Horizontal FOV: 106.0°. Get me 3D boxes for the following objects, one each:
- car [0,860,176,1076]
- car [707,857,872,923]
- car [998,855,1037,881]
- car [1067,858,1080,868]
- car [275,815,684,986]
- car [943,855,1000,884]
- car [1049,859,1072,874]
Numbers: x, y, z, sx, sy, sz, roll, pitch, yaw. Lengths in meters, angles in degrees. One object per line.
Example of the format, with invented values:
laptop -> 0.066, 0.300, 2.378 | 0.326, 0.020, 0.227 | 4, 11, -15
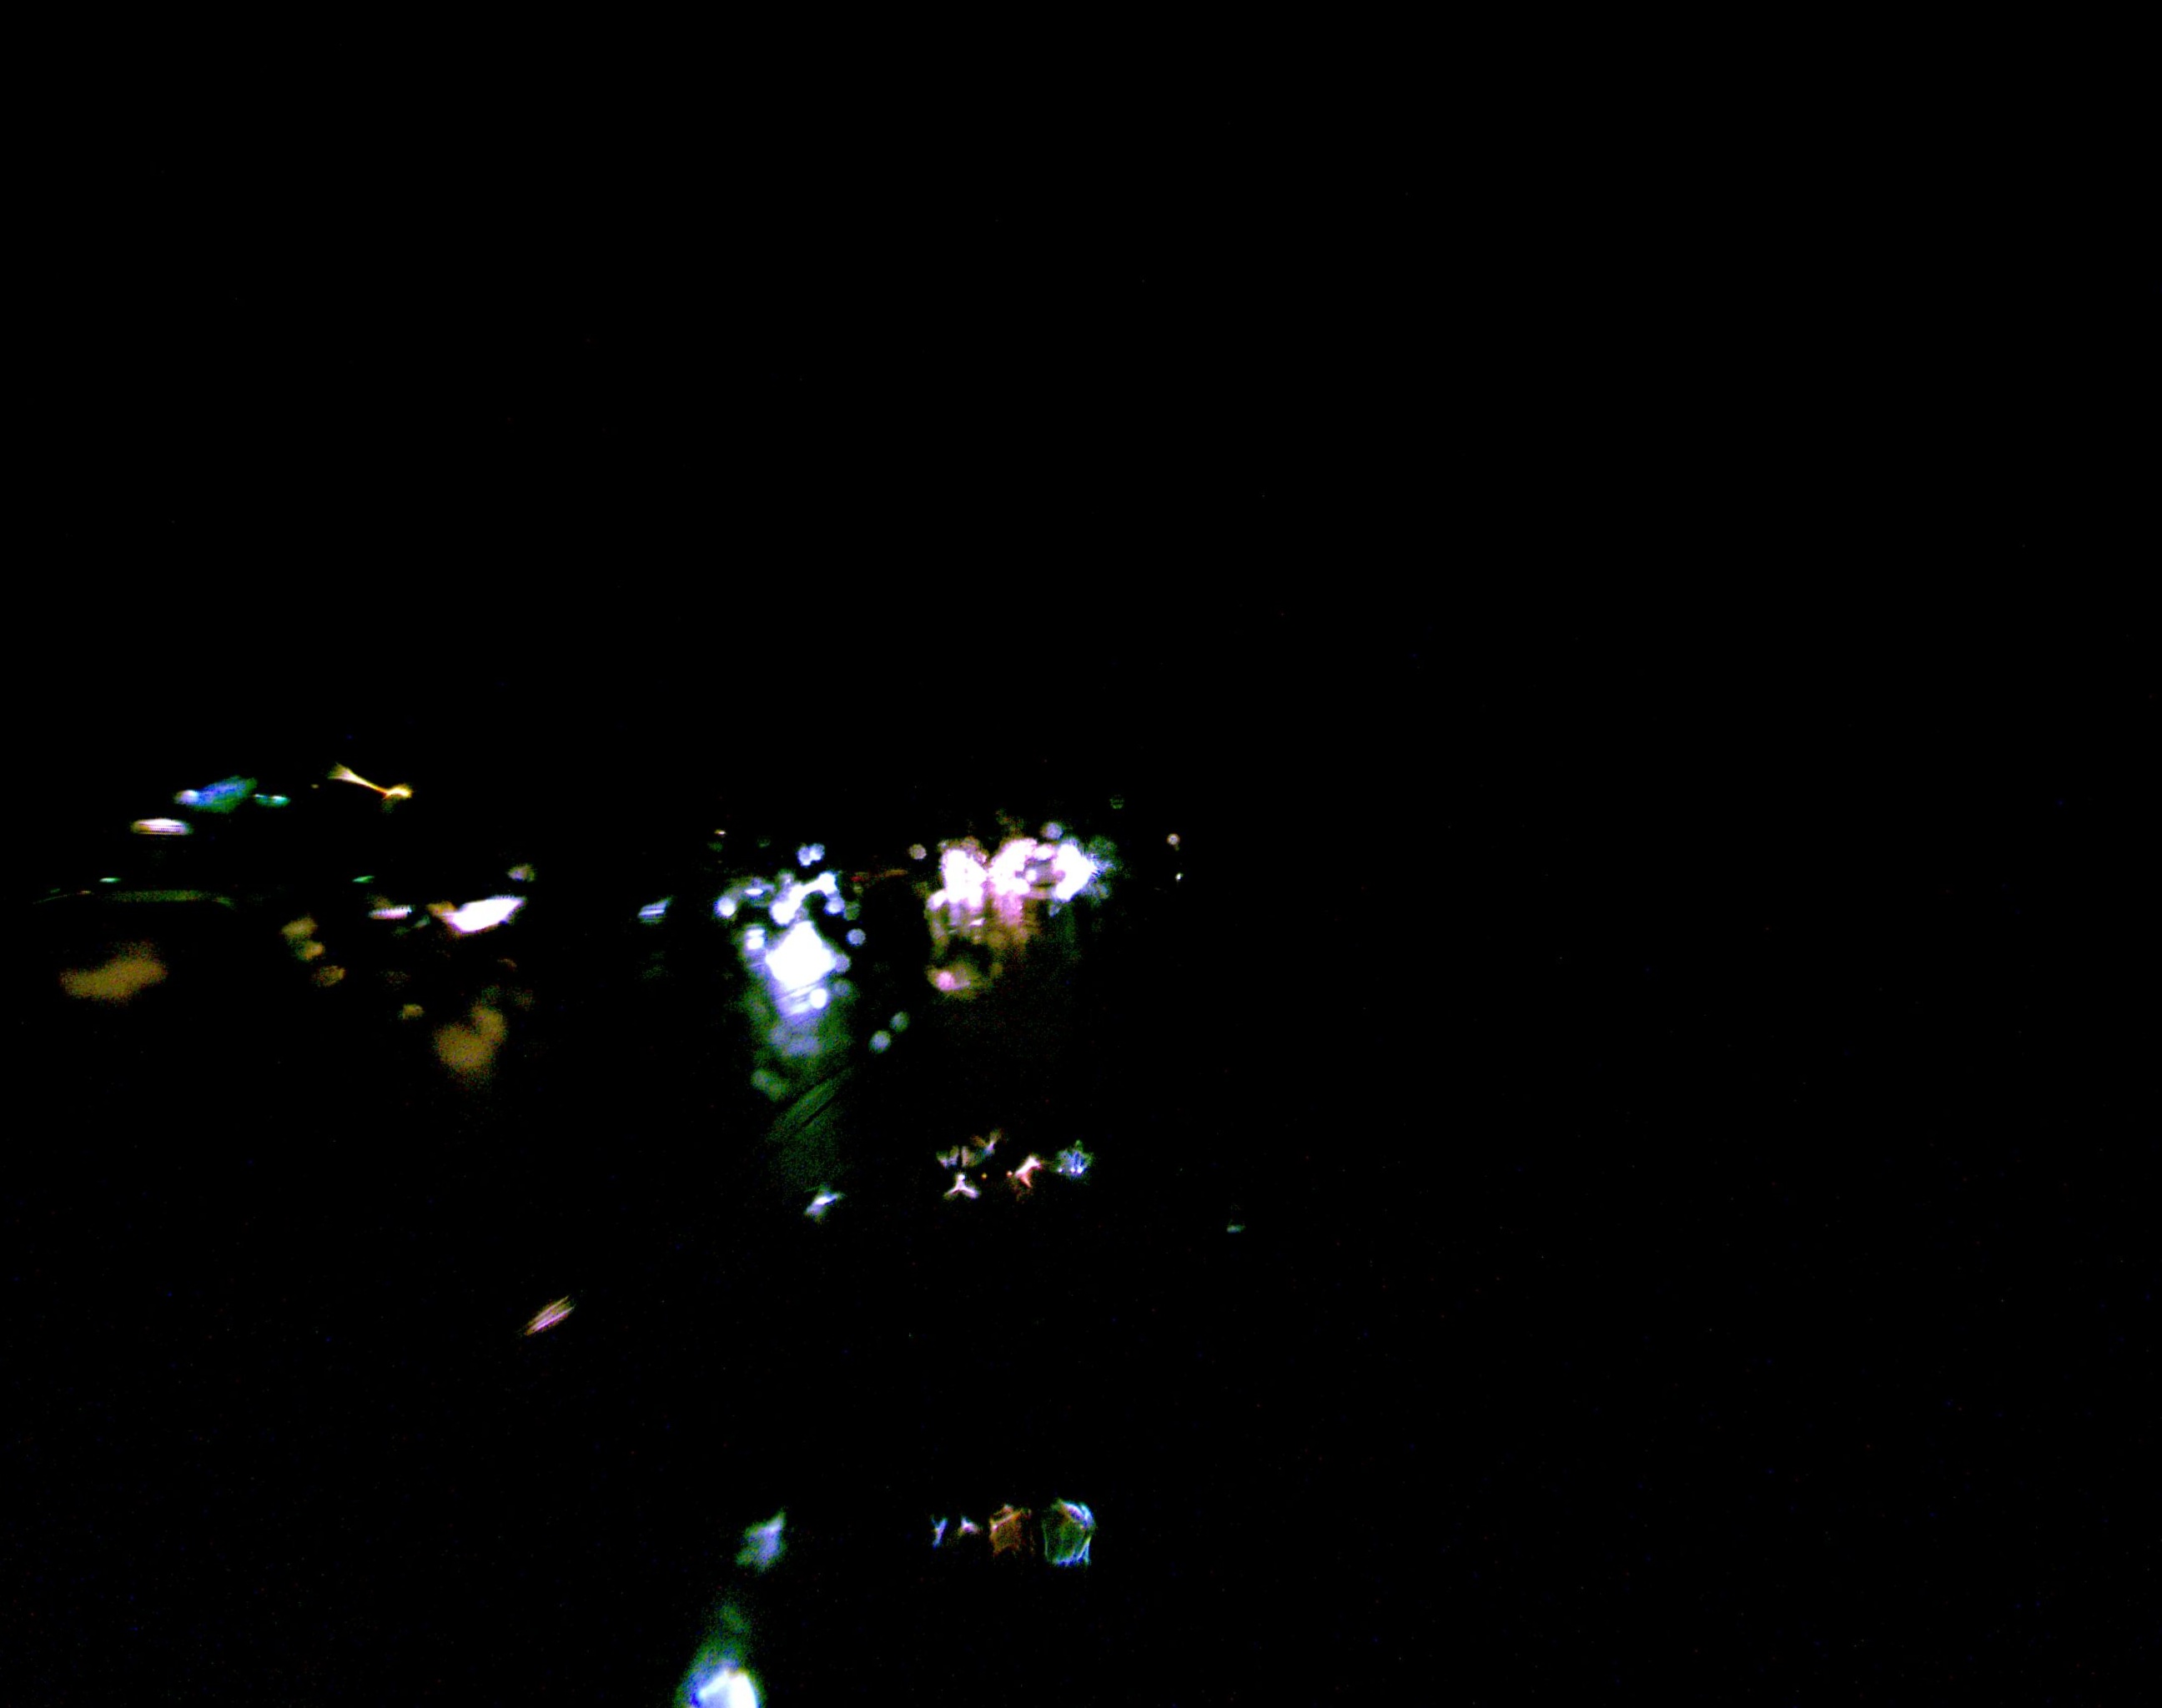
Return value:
car -> -8.732, 0.807, 5.064 | 1.958, 1.529, 3.691 | 0, 0, 3
car -> -7.617, 0.869, 22.004 | 2.171, 1.558, 5.211 | 0, 0, 5
car -> -4.720, 1.049, 61.123 | 1.984, 1.865, 5.327 | 0, 0, 5
car -> -1.117, 1.397, 125.629 | 1.916, 1.615, 4.086 | 0, 0, 1
car -> -8.392, 0.557, 12.195 | 2.144, 2.014, 5.000 | 0, 0, 4
car -> -5.949, 0.811, 44.866 | 2.073, 1.542, 4.905 | 0, 0, 5
car -> -2.109, 1.268, 84.446 | 2.102, 1.575, 4.682 | 0, 0, 3
